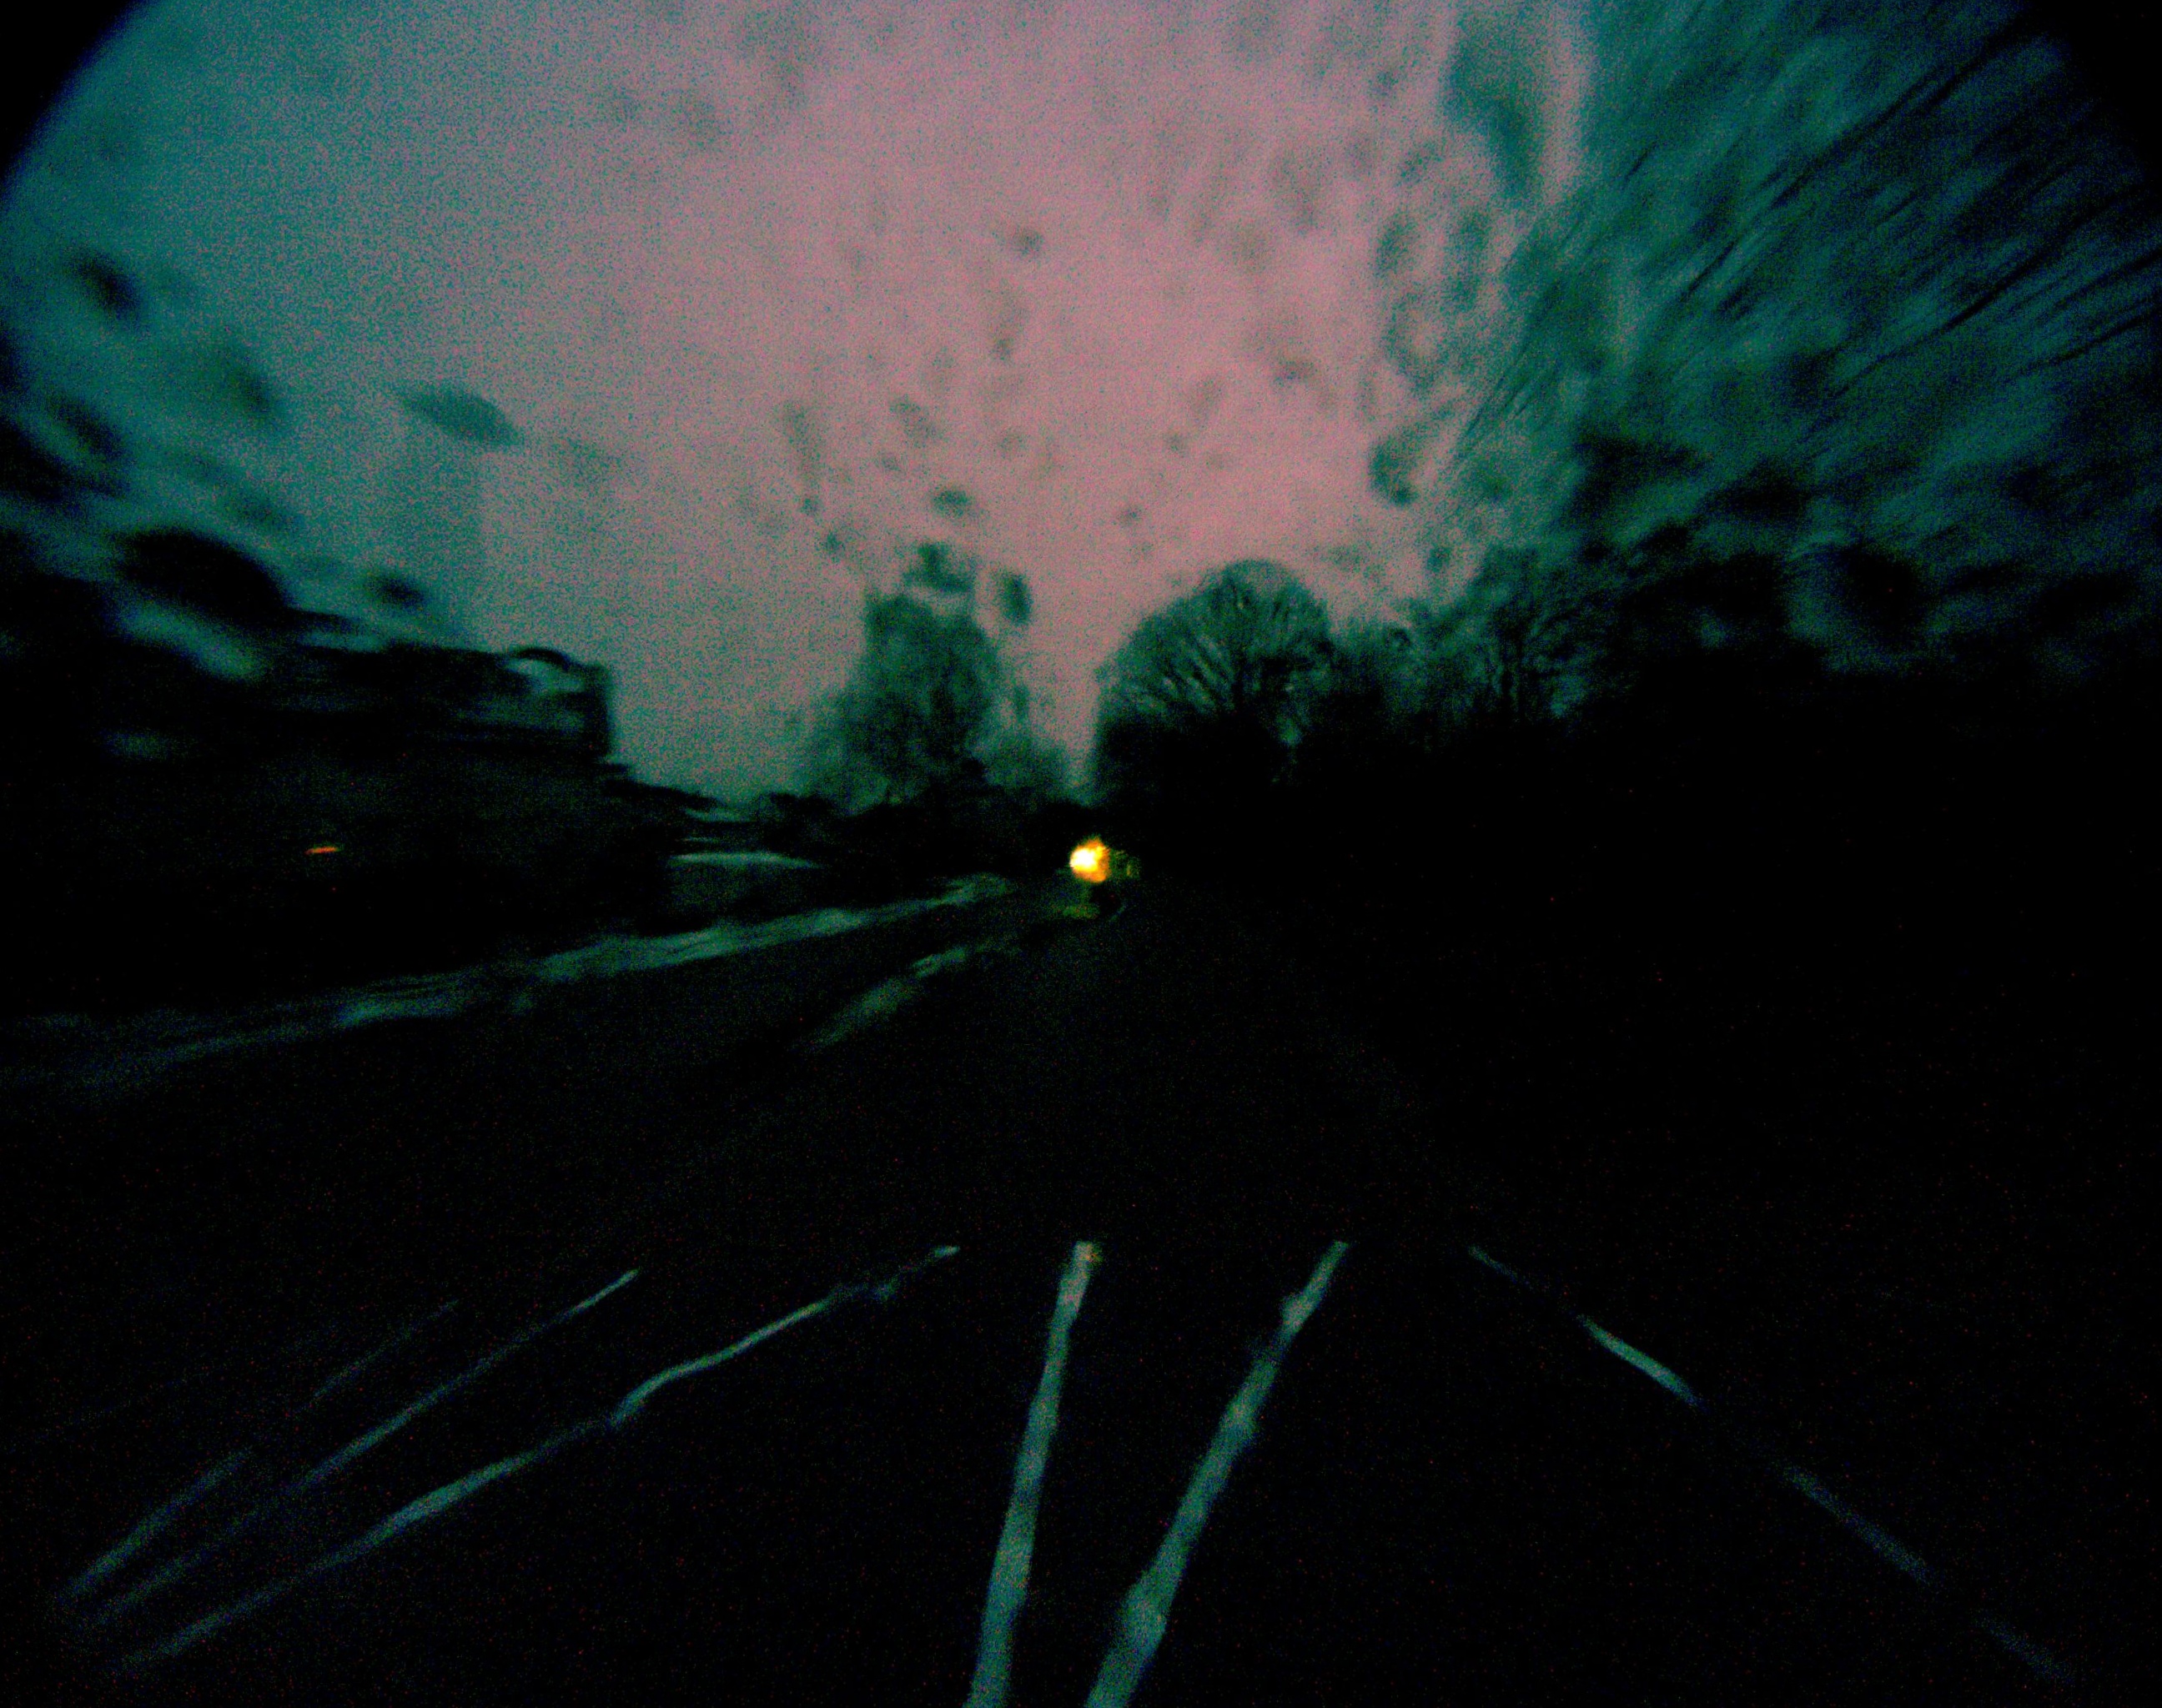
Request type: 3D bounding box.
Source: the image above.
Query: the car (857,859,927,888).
[{"bbox_3d":[-11.276,1.153,45.479,3.793,1.587,1.803,2,0,-5],"label":"car"}]

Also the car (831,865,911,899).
[{"bbox_3d":[-11.107,1.472,40.414,3.793,1.587,1.803,2,0,-5],"label":"car"}]

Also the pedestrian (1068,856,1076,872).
[{"bbox_3d":[-0.960,1.060,82.297,0.745,1.645,0.970,2,0,-4],"label":"pedestrian"}]

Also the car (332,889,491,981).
[{"bbox_3d":[-14.727,1.631,16.608,4.893,1.479,1.957,2,0,41],"label":"car"}]
